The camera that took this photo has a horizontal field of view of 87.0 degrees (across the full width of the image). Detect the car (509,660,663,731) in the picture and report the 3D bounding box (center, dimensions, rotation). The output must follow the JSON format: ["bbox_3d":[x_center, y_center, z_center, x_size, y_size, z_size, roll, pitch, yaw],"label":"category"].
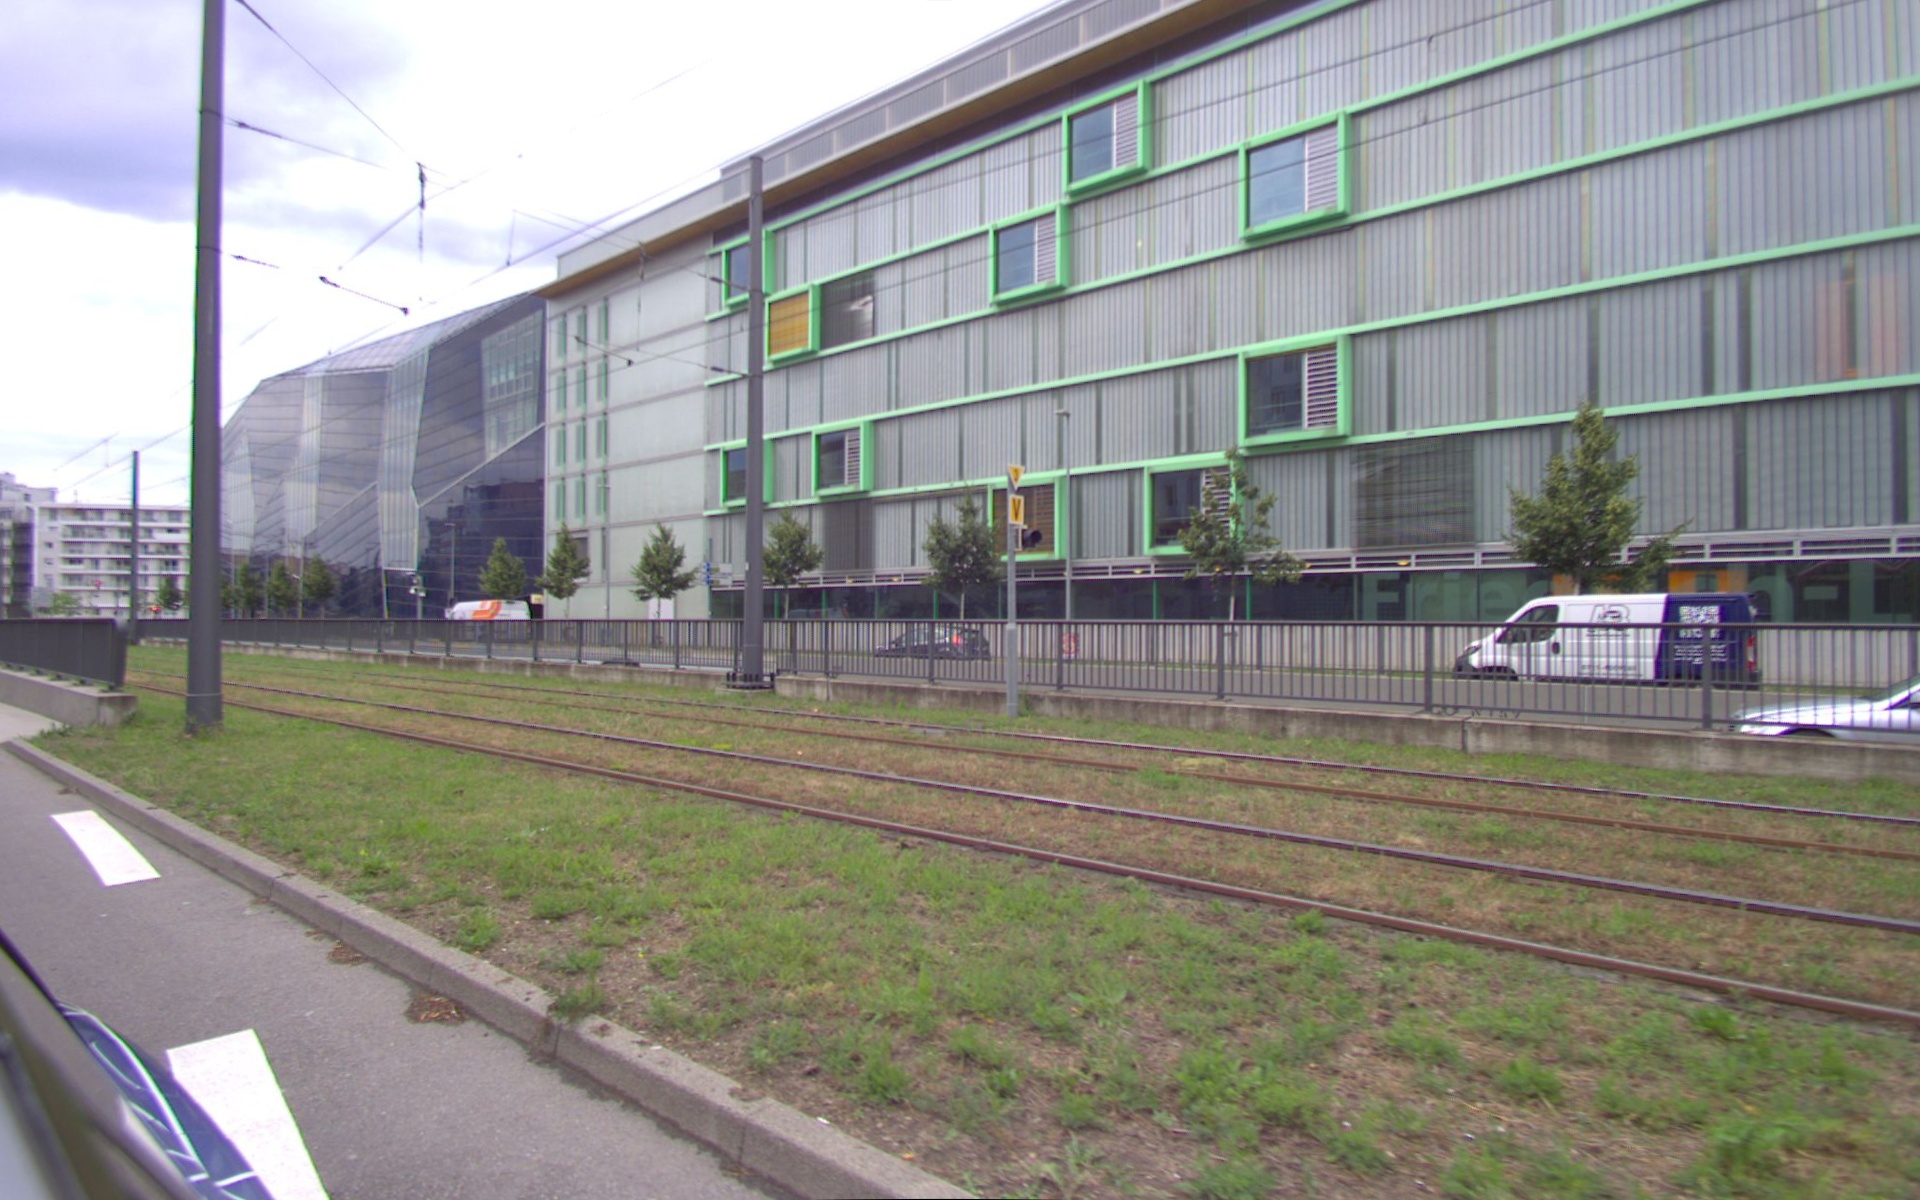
[{"bbox_3d":[-10.987,2.810,29.548,4.966,1.776,1.974,-6,-4,40],"label":"car"}]

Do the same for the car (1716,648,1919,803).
[{"bbox_3d":[10.927,1.273,10.397,4.966,1.526,1.764,-2,-2,39],"label":"car"}]

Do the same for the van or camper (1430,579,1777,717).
[{"bbox_3d":[12.199,0.868,19.444,5.355,2.304,2.150,-1,-2,41],"label":"van or camper"}]

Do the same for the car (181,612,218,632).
[{"bbox_3d":[-69.804,2.033,92.876,4.766,1.605,1.972,-4,-3,43],"label":"car"}]

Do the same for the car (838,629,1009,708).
[{"bbox_3d":[-1.165,2.080,30.380,4.965,2.029,1.974,-6,-4,38],"label":"car"}]

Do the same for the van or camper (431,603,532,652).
[{"bbox_3d":[-23.997,1.363,50.628,6.503,2.304,2.150,-2,-1,41],"label":"van or camper"}]
